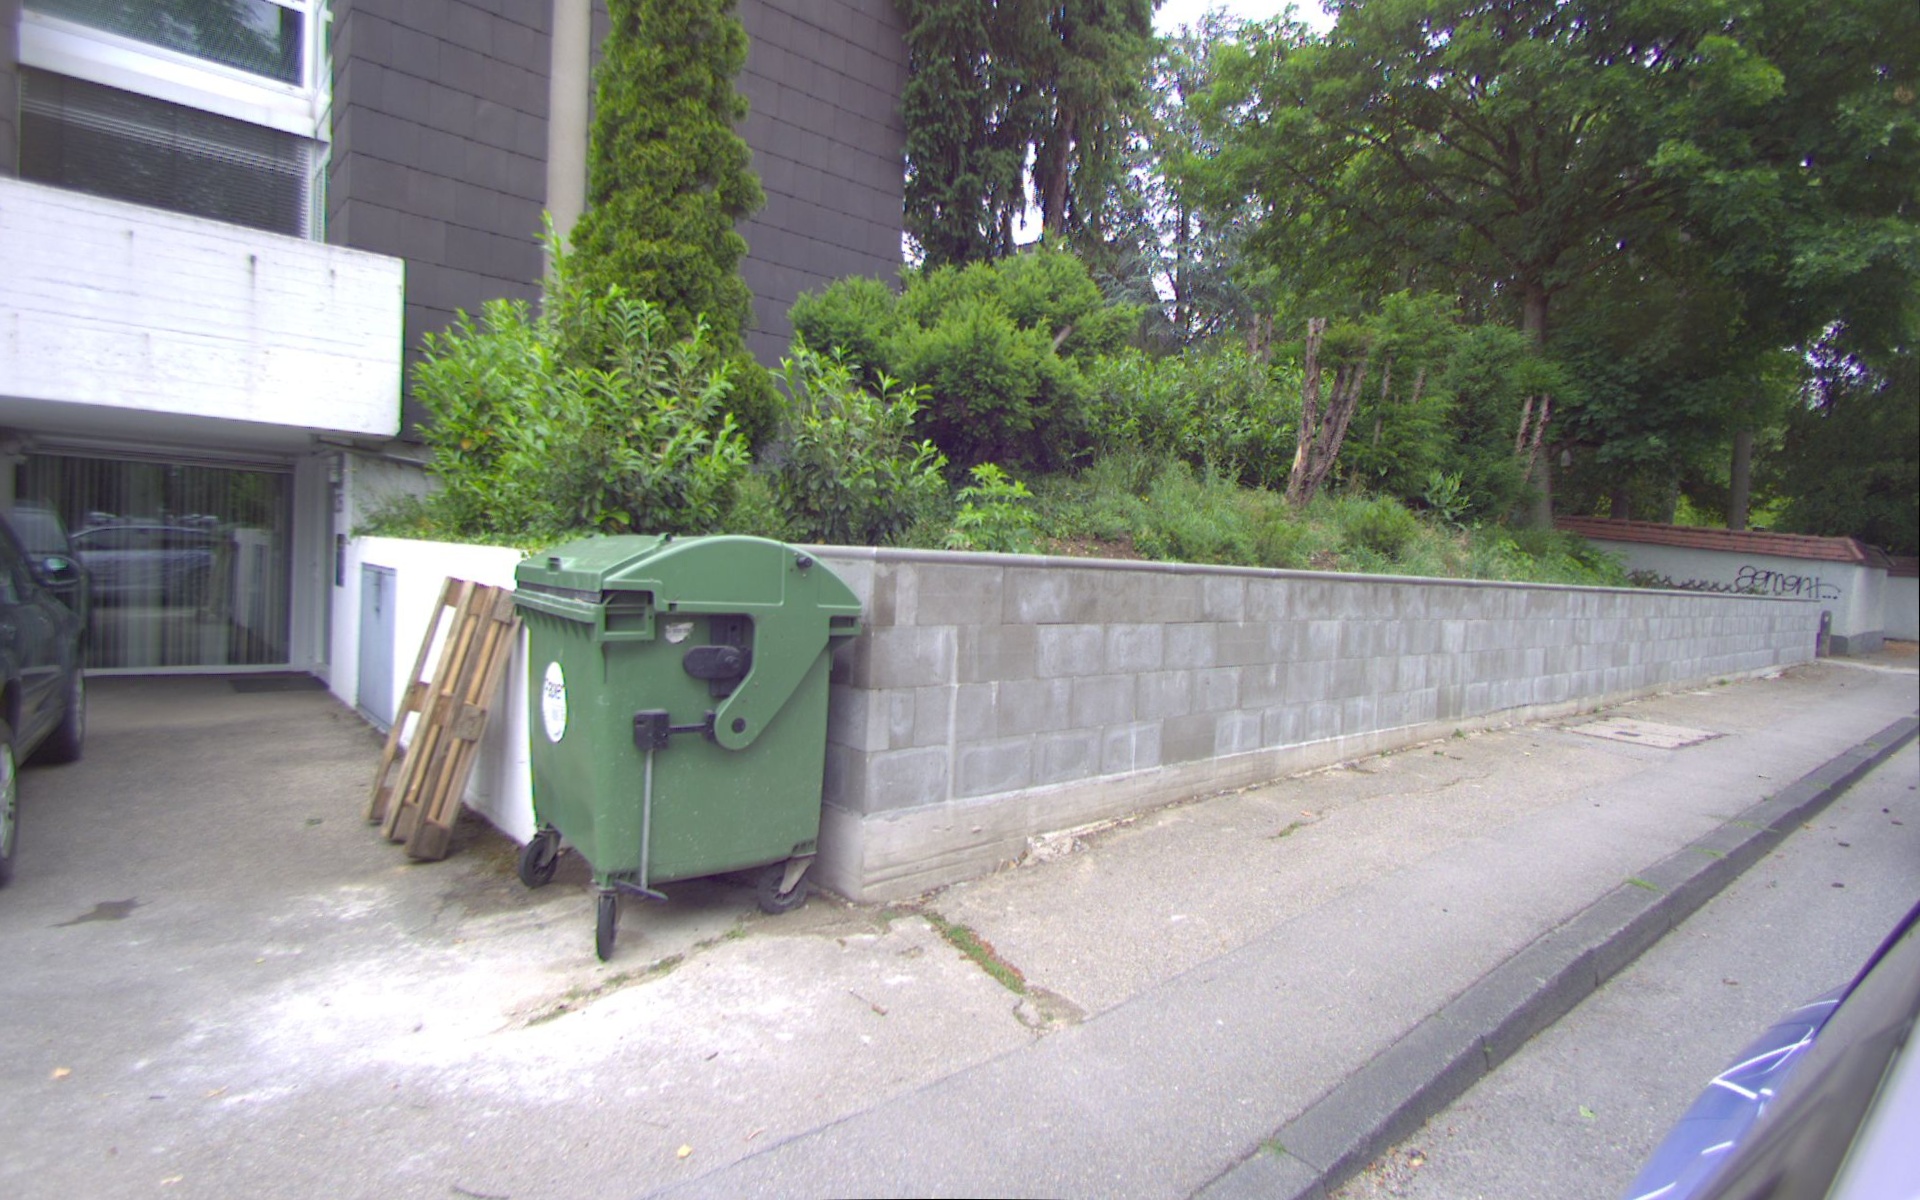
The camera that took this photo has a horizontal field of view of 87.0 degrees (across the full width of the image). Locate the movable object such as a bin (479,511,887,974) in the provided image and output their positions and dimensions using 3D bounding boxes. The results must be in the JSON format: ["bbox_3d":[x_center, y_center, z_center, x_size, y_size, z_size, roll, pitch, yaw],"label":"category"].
[{"bbox_3d":[-1.160,0.413,4.089,1.096,1.469,1.407,0,3,-40],"label":"movable object such as a bin"}]

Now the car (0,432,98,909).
[{"bbox_3d":[-5.025,0.146,4.363,1.712,1.671,3.914,0,4,-36],"label":"car"}]
